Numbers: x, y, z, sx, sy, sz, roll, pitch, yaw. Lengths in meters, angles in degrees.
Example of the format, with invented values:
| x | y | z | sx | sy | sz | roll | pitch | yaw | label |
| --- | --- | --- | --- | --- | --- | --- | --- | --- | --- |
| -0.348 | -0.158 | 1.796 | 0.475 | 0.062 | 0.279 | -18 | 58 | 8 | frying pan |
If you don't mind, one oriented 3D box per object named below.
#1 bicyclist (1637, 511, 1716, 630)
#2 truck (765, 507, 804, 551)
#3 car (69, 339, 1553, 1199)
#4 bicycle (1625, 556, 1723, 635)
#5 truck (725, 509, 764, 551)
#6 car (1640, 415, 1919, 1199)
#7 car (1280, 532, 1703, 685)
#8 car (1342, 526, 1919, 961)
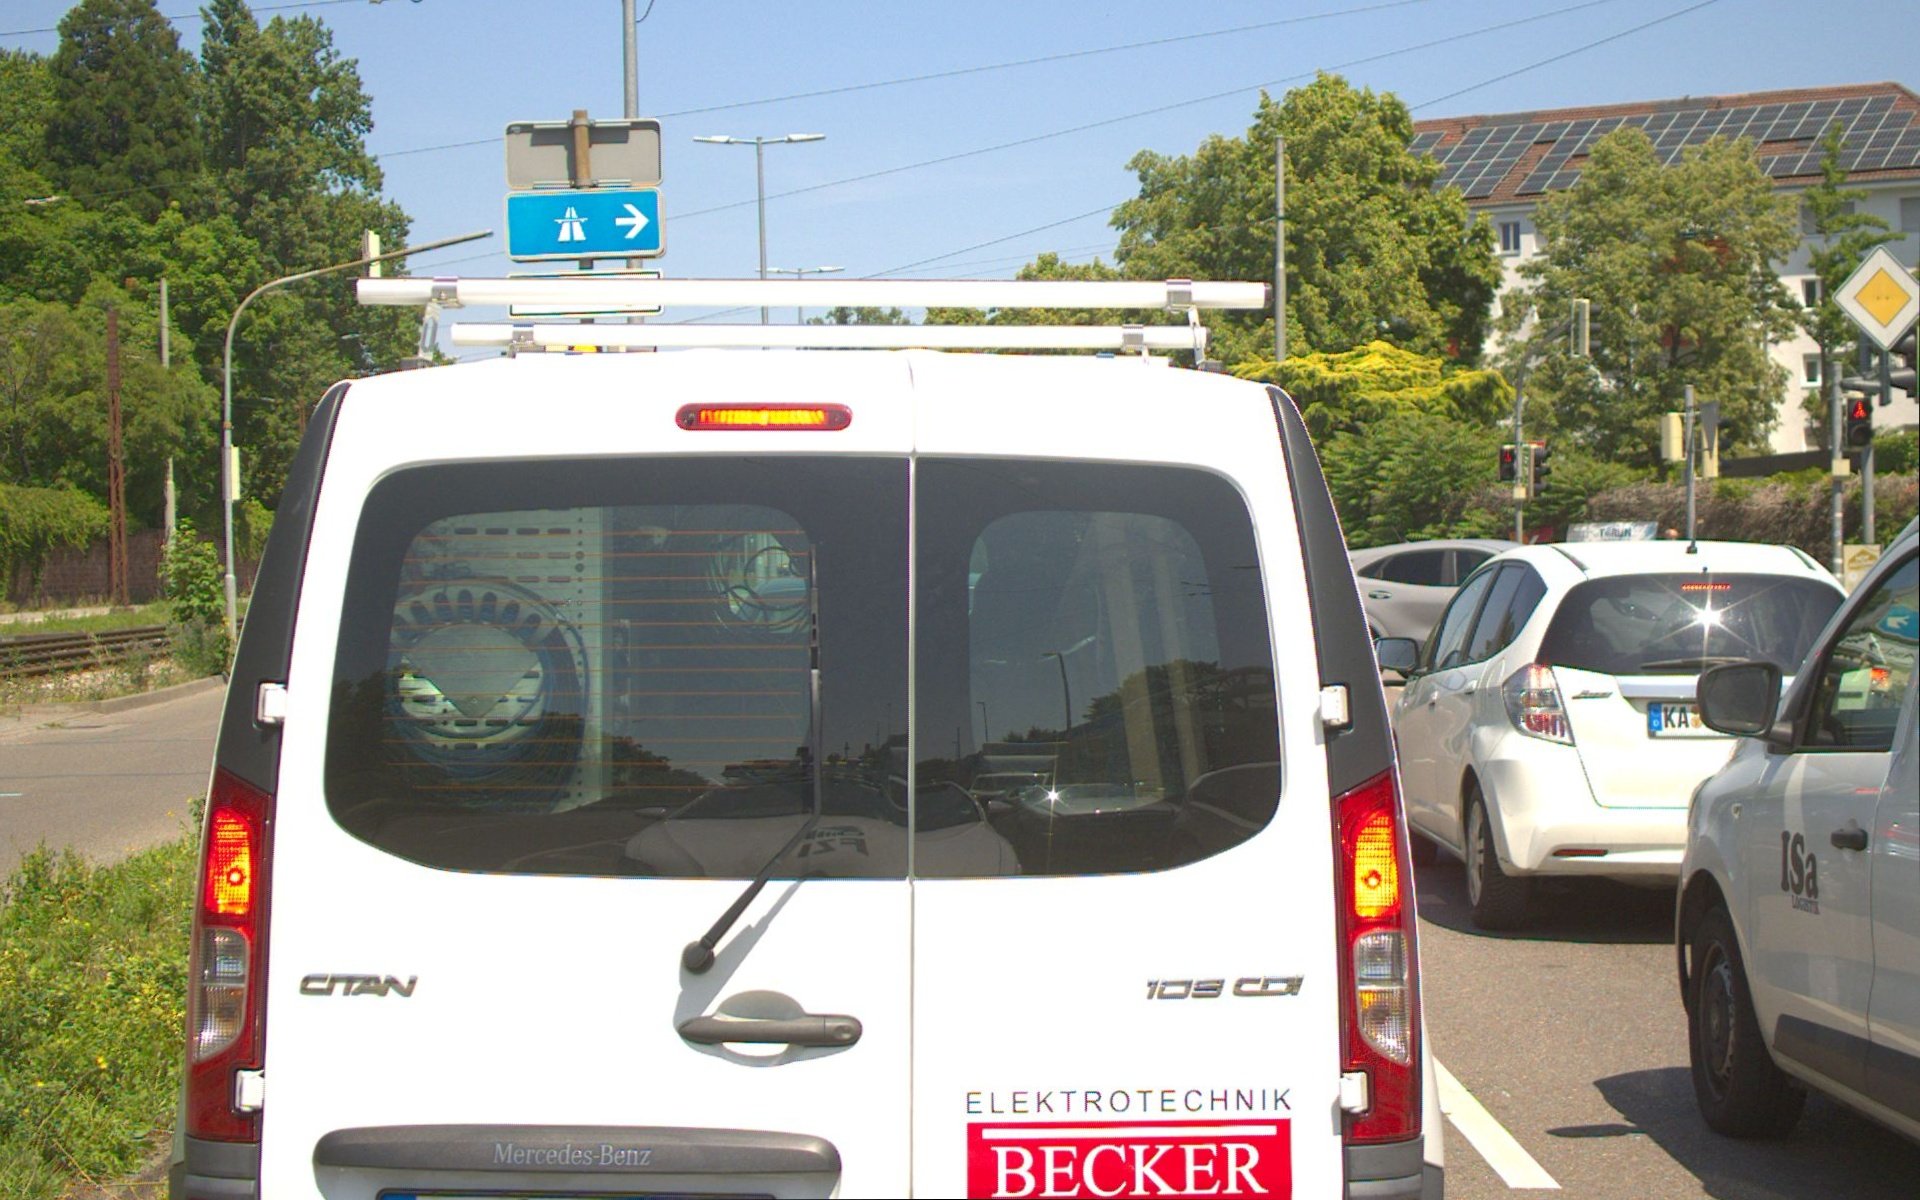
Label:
| x | y | z | sx | sy | sz | roll | pitch | yaw | label |
| --- | --- | --- | --- | --- | --- | --- | --- | --- | --- |
| 10.755 | -0.444 | 51.626 | 0.973 | 1.782 | 0.726 | 0 | 0 | -5 | bicyclist |
| -10.803 | -4.368 | 212.319 | 2.139 | 2.579 | 5.890 | 1 | 1 | -1 | truck |
| -0.211 | 0.525 | 6.443 | 1.821 | 1.734 | 4.396 | 1 | 1 | -1 | car |
| 10.718 | -0.082 | 51.652 | 0.892 | 1.155 | 1.956 | 0 | 1 | -5 | bicycle |
| -13.825 | -4.495 | 220.773 | 2.139 | 2.579 | 5.890 | 1 | 1 | -1 | truck |
| 2.764 | 0.527 | 7.256 | 1.727 | 1.782 | 4.065 | 1 | 1 | -2 | car |
| 5.523 | 0.074 | 35.837 | 3.994 | 1.514 | 1.749 | 0 | 0 | 31 | car |
| 2.802 | 0.489 | 14.648 | 1.835 | 1.563 | 4.000 | 1 | 1 | -1 | car |
